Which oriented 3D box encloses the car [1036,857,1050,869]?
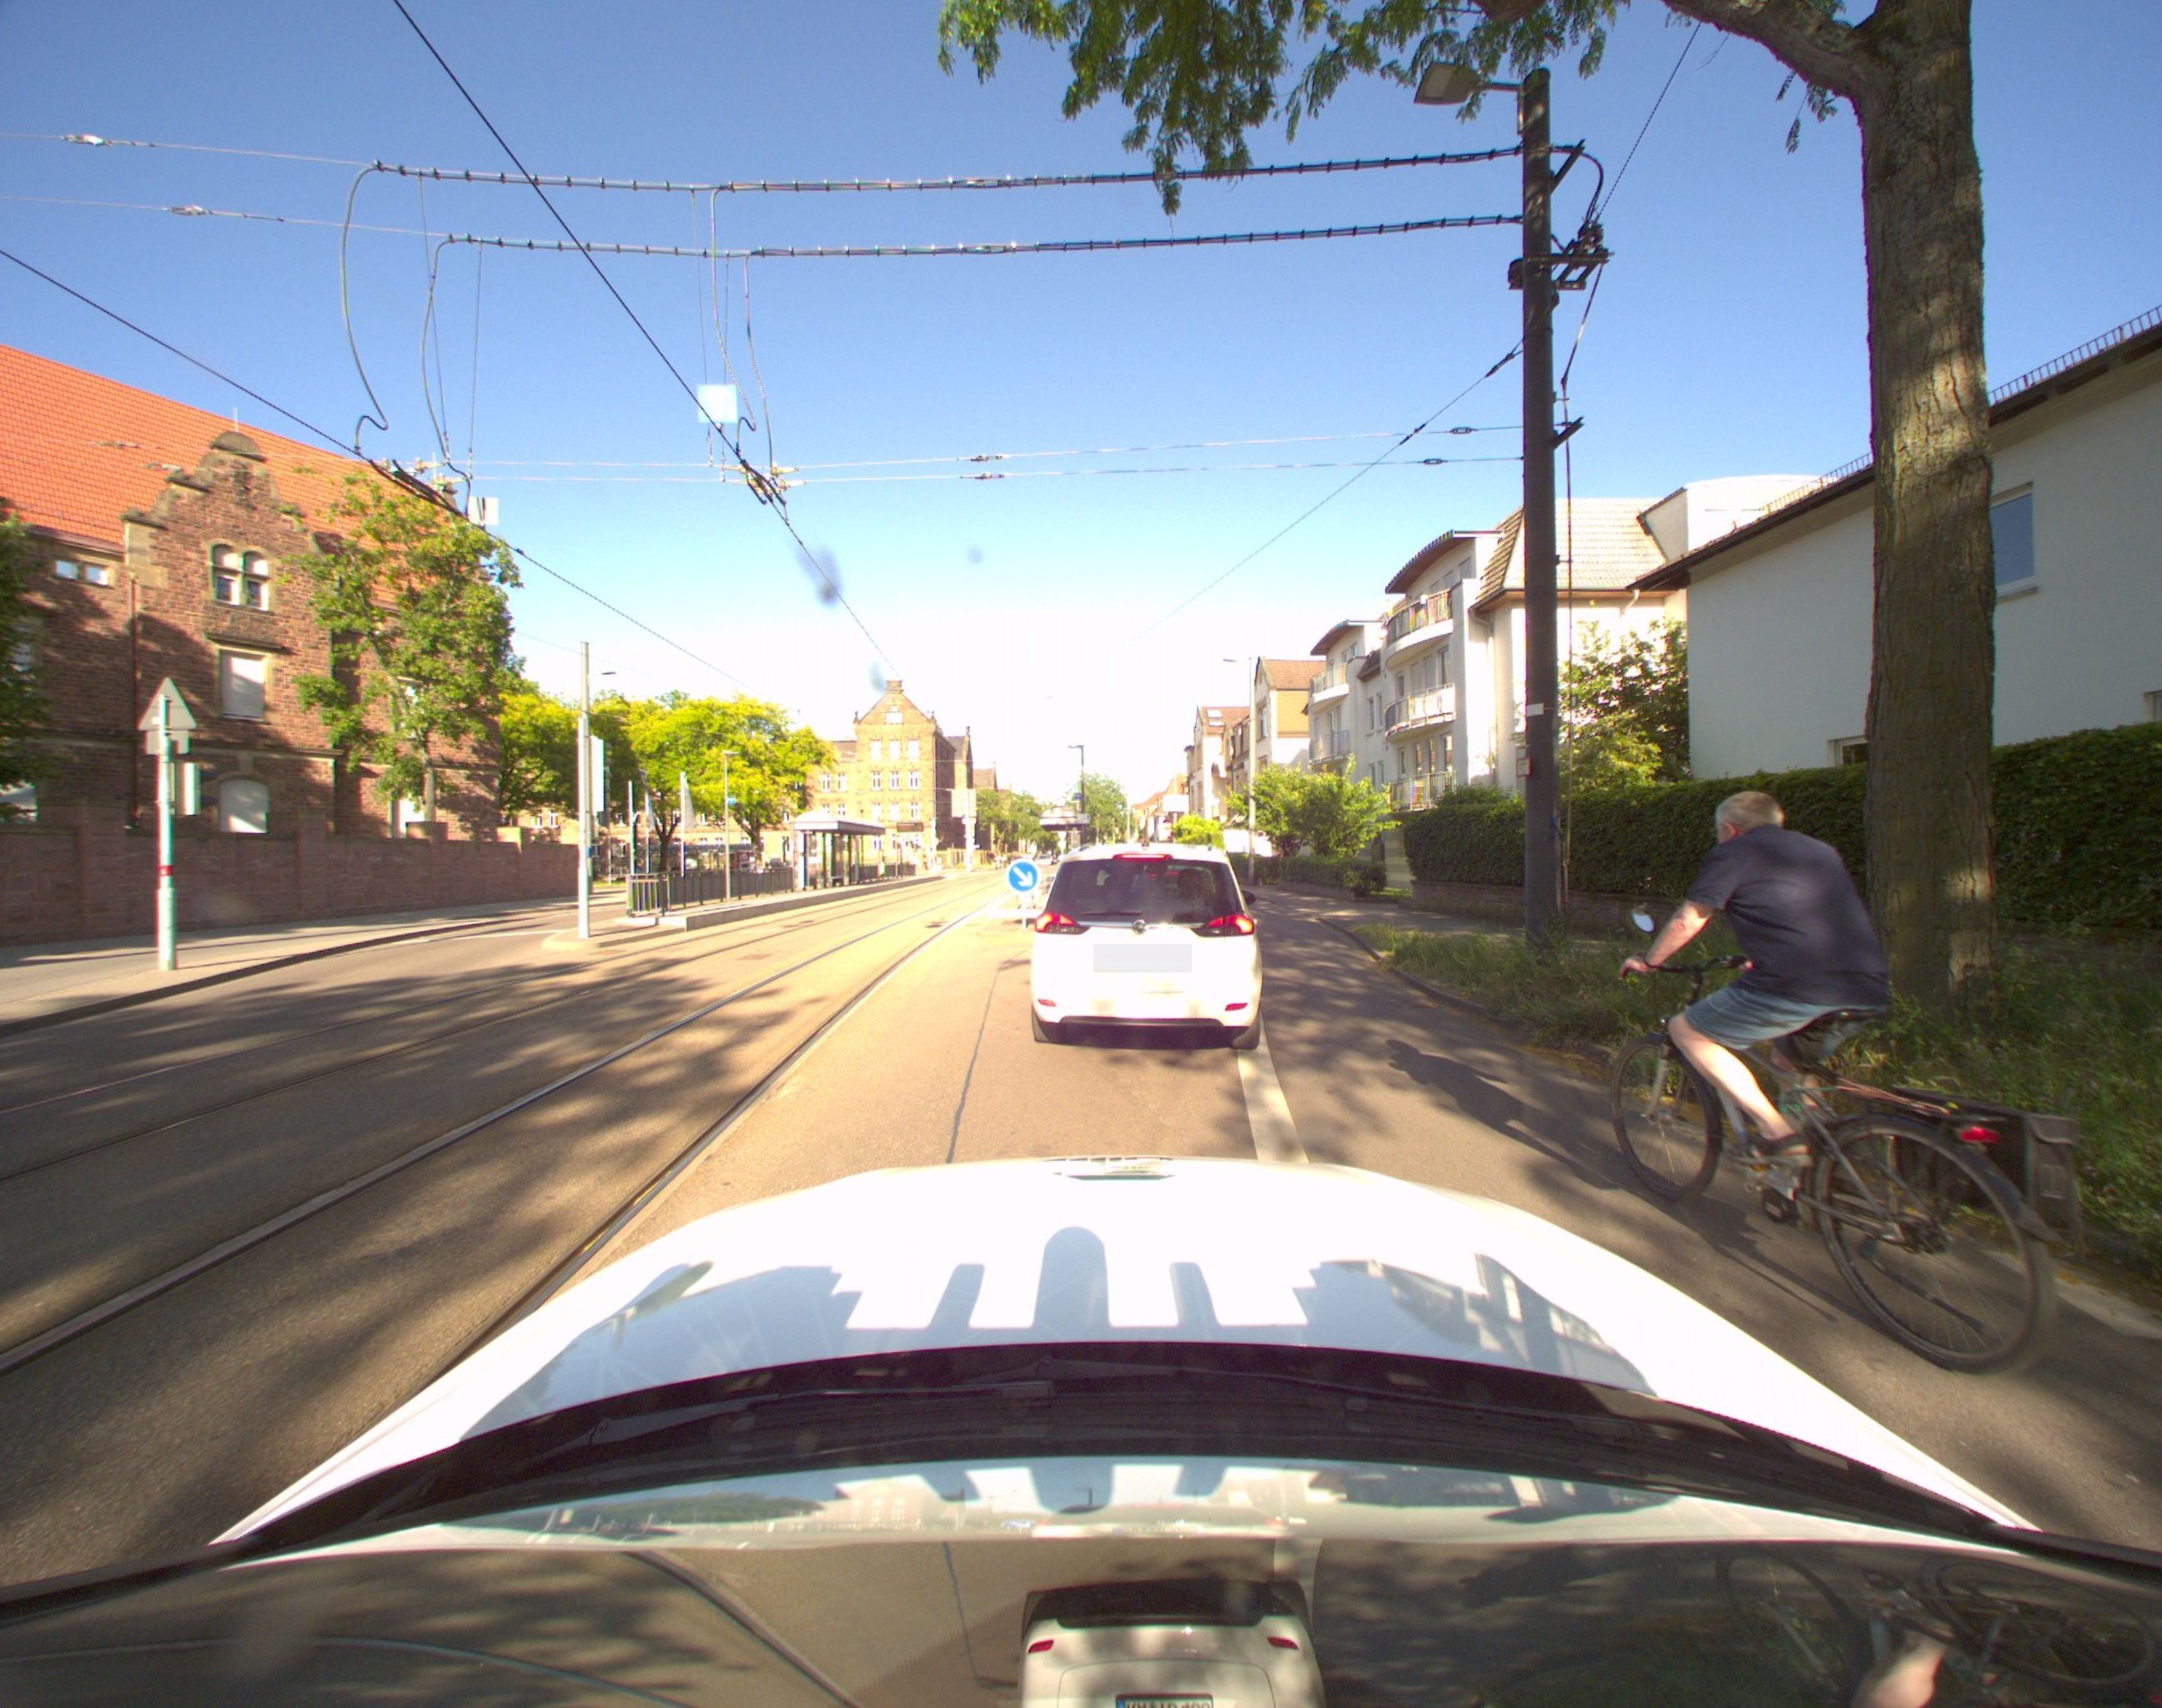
[{"bbox_3d":[-5.394,1.296,115.541,1.740,1.716,4.001,0,-1,2],"label":"car"}]

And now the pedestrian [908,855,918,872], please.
[{"bbox_3d":[-18.470,1.019,89.644,0.802,1.901,0.747,-1,-1,16],"label":"pedestrian"}]

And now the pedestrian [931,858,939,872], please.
[{"bbox_3d":[-17.196,1.268,95.934,0.651,1.612,0.712,0,-1,4],"label":"pedestrian"}]

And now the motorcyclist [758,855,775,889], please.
[{"bbox_3d":[-14.327,0.817,37.109,0.606,1.516,0.464,-1,0,-8],"label":"motorcyclist"}]

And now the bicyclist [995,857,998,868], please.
[{"bbox_3d":[-10.687,1.067,103.488,0.312,1.444,0.384,-1,0,1],"label":"bicyclist"}]

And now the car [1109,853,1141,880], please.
[{"bbox_3d":[2.826,0.756,53.173,1.901,1.661,4.000,-1,0,0],"label":"car"}]

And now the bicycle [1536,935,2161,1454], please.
[{"bbox_3d":[2.537,0.951,3.028,0.621,1.097,1.974,-1,0,2],"label":"bicycle"}]

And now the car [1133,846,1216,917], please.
[{"bbox_3d":[2.509,0.642,21.065,1.896,1.624,4.010,-1,0,9],"label":"car"}]

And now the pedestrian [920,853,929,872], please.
[{"bbox_3d":[-17.082,0.952,88.937,0.800,2.014,0.713,0,-1,-32],"label":"pedestrian"}]

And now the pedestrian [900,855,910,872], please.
[{"bbox_3d":[-19.502,1.061,90.379,0.801,1.901,0.747,-1,-1,18],"label":"pedestrian"}]

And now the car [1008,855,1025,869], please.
[{"bbox_3d":[-8.521,1.040,107.441,1.740,1.716,4.001,0,-1,2],"label":"car"}]

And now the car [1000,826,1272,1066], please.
[{"bbox_3d":[0.686,0.647,7.741,1.896,1.661,4.010,-1,0,9],"label":"car"}]

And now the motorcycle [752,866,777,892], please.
[{"bbox_3d":[-14.279,1.117,36.752,0.609,1.093,1.851,-1,0,-7],"label":"motorcycle"}]

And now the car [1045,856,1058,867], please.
[{"bbox_3d":[-4.628,1.191,129.387,1.740,1.716,4.001,0,-1,2],"label":"car"}]

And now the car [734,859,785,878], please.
[{"bbox_3d":[-29.671,1.329,75.201,3.976,1.630,1.817,0,-1,-2],"label":"car"}]

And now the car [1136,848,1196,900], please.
[{"bbox_3d":[2.963,0.656,28.337,1.897,1.661,4.007,-1,0,6],"label":"car"}]

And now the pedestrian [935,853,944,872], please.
[{"bbox_3d":[-15.574,0.946,89.524,0.801,2.014,0.713,0,-1,-35],"label":"pedestrian"}]

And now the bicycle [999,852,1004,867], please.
[{"bbox_3d":[-10.703,0.703,109.449,0.485,2.013,1.406,-1,0,2],"label":"bicycle"}]

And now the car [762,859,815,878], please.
[{"bbox_3d":[-25.463,1.252,70.959,3.976,1.630,1.817,0,-1,-2],"label":"car"}]

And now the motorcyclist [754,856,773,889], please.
[{"bbox_3d":[-14.264,0.818,36.627,0.683,1.440,0.445,-1,0,-8],"label":"motorcyclist"}]

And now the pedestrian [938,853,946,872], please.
[{"bbox_3d":[-14.571,0.878,85.504,0.796,2.014,0.717,0,-1,-15],"label":"pedestrian"}]

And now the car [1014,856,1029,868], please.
[{"bbox_3d":[-8.354,1.126,114.109,1.740,1.716,4.001,0,-1,2],"label":"car"}]

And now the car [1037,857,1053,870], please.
[{"bbox_3d":[-4.730,1.265,107.662,1.740,1.716,4.001,0,-1,2],"label":"car"}]

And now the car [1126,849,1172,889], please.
[{"bbox_3d":[2.983,0.620,36.180,1.899,1.661,4.003,-1,0,3],"label":"car"}]

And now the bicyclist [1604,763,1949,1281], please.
[{"bbox_3d":[2.526,0.552,3.057,0.613,1.686,0.779,-1,0,2],"label":"bicyclist"}]

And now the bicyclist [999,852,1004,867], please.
[{"bbox_3d":[-10.708,0.703,109.441,0.496,2.013,0.572,-1,0,1],"label":"bicyclist"}]

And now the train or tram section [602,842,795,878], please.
[{"bbox_3d":[-37.863,0.593,81.132,17.346,3.154,3.344,-1,-1,-3],"label":"train or tram section"}]

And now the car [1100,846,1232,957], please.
[{"bbox_3d":[1.548,0.691,13.859,1.896,1.597,4.010,-1,0,9],"label":"car"}]
